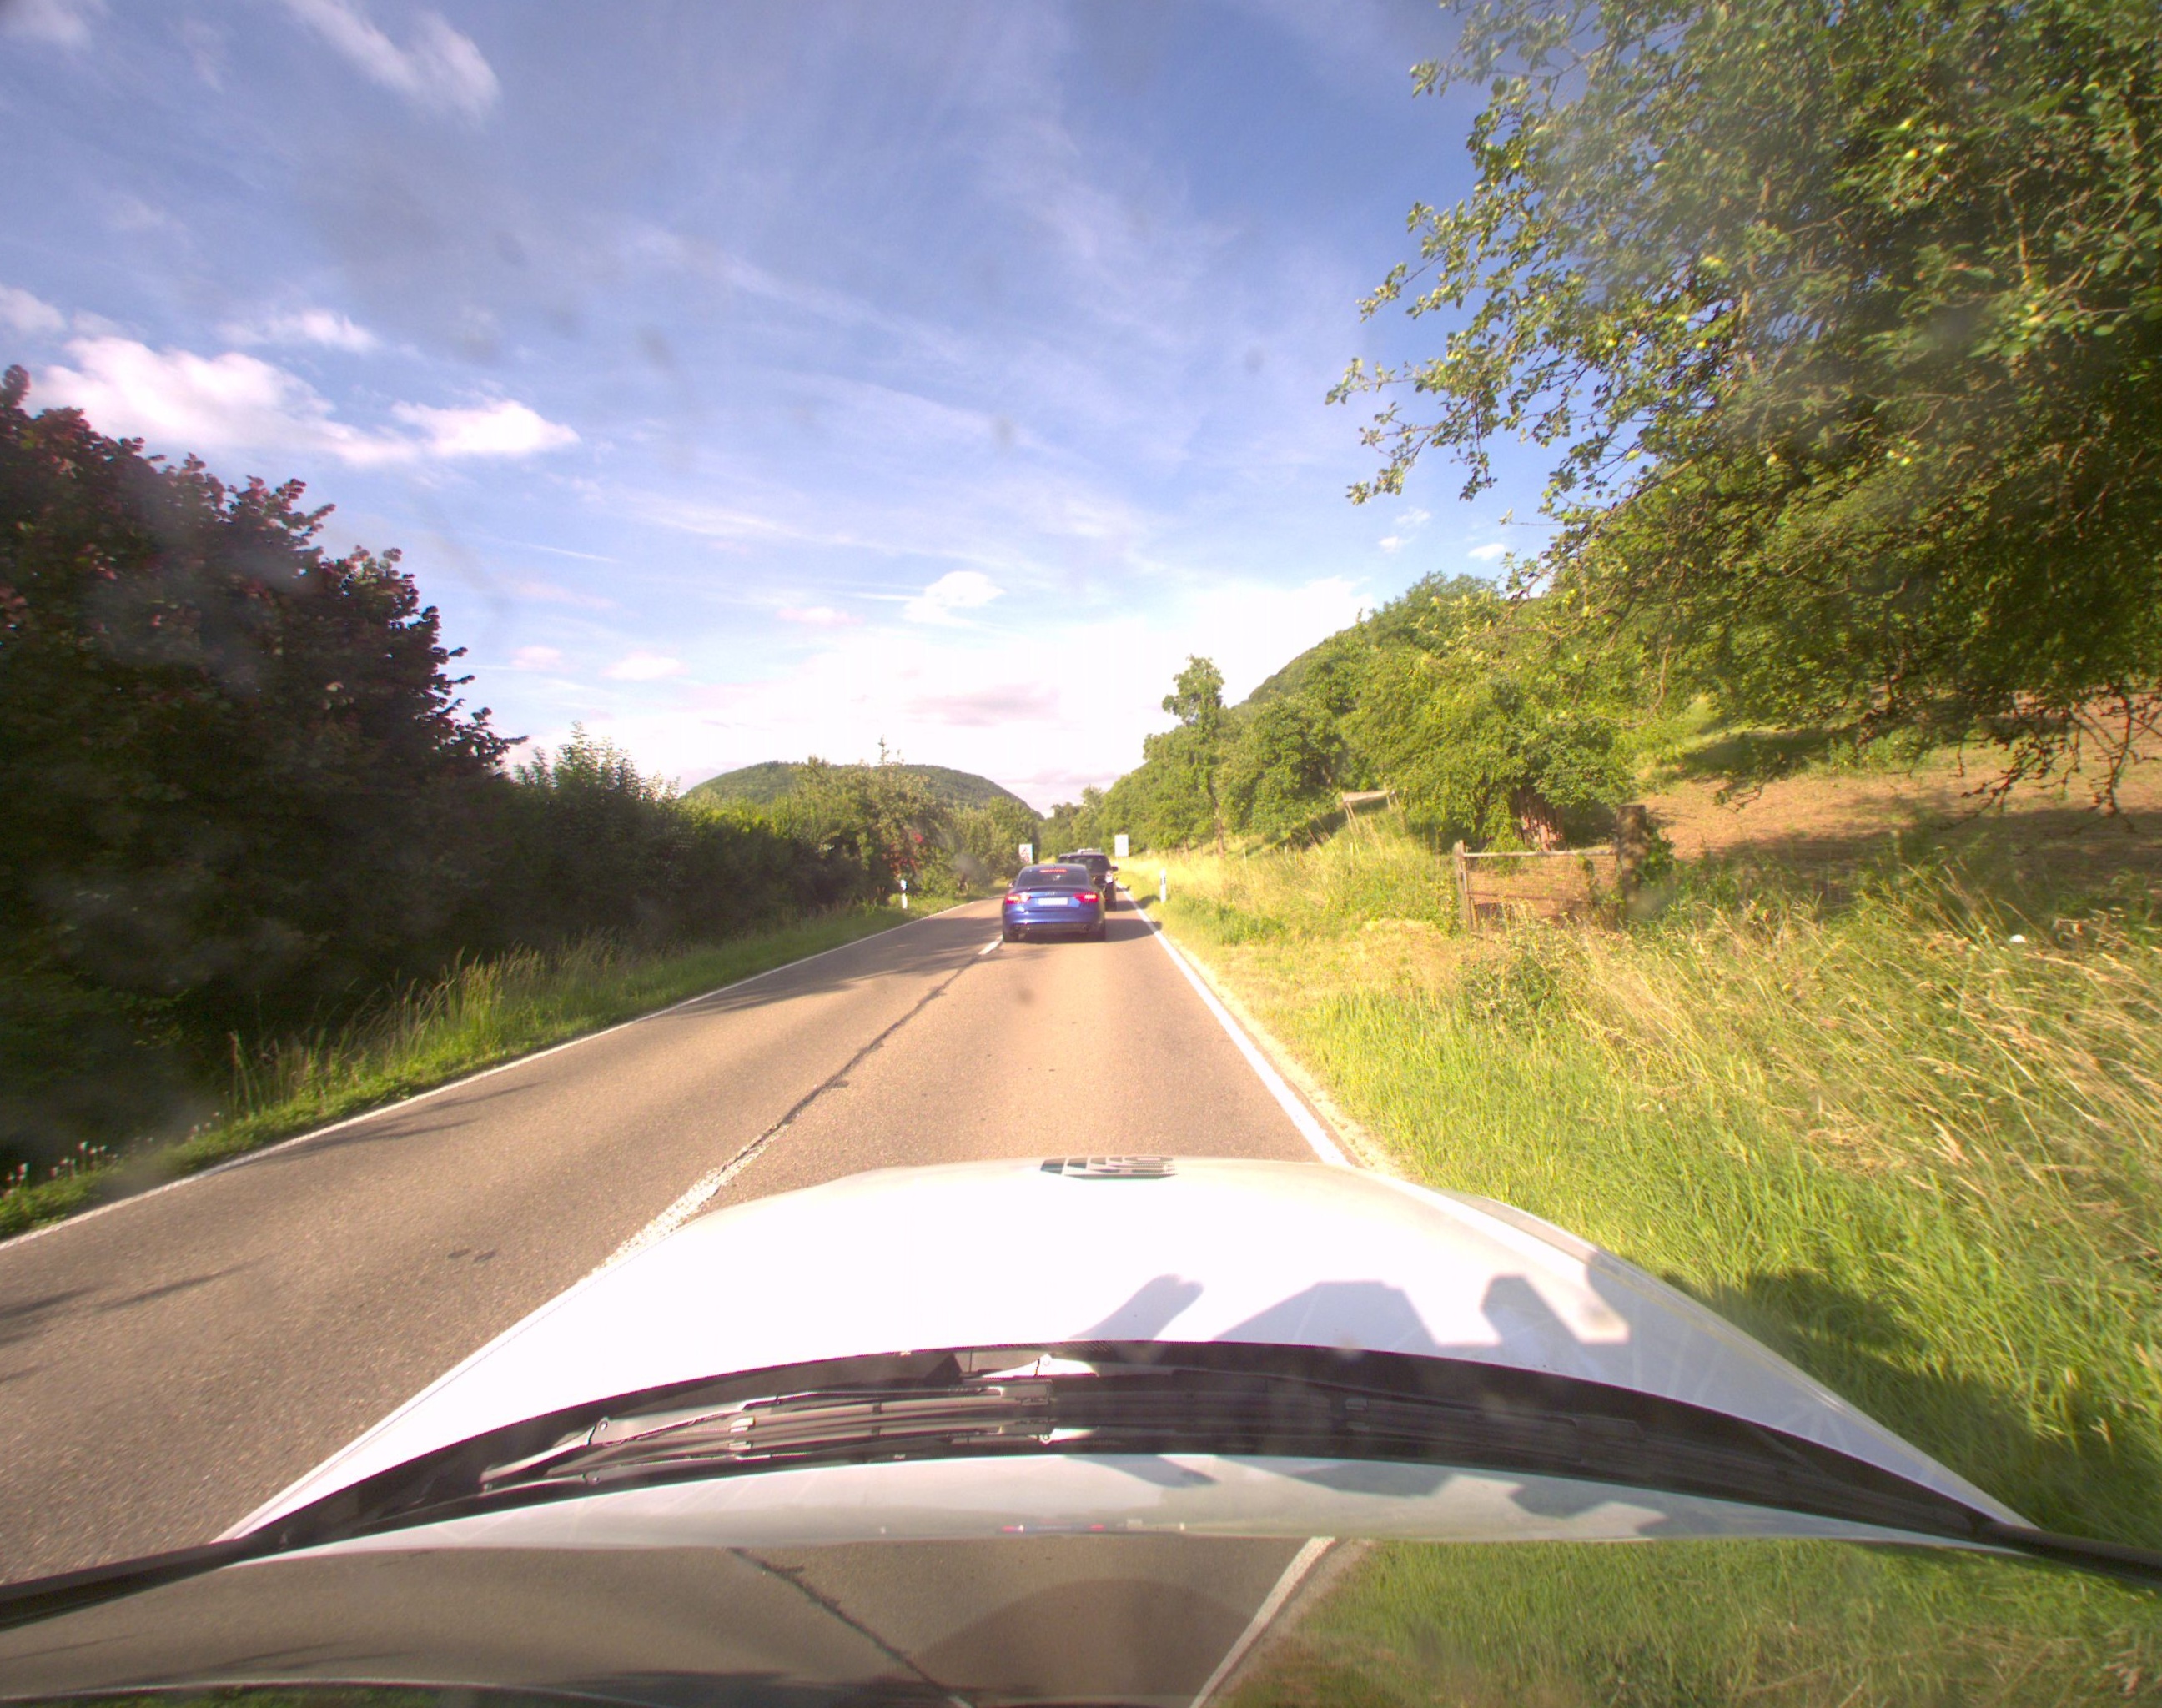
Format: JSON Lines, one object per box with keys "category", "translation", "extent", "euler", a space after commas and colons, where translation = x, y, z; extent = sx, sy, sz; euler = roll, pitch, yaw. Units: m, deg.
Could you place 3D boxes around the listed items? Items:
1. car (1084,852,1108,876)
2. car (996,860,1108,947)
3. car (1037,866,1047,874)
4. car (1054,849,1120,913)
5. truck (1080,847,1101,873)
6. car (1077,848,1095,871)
{"category": "car", "translation": [1.067, 0.715, 60.033], "extent": [1.687, 1.624, 3.789], "euler": [-1, 0, 1]}
{"category": "car", "translation": [-0.433, 0.837, 15.465], "extent": [1.799, 1.382, 4.215], "euler": [-2, -1, 1]}
{"category": "car", "translation": [-8.236, 3.369, 172.406], "extent": [1.560, 1.496, 3.763], "euler": [0, 0, -11]}
{"category": "car", "translation": [0.172, 0.711, 23.129], "extent": [1.687, 1.624, 3.789], "euler": [-1, 0, 1]}
{"category": "truck", "translation": [0.855, 0.582, 76.423], "extent": [1.943, 2.345, 5.093], "euler": [0, 0, 0]}
{"category": "car", "translation": [0.486, 0.584, 86.886], "extent": [1.787, 2.453, 3.916], "euler": [0, 0, -2]}
